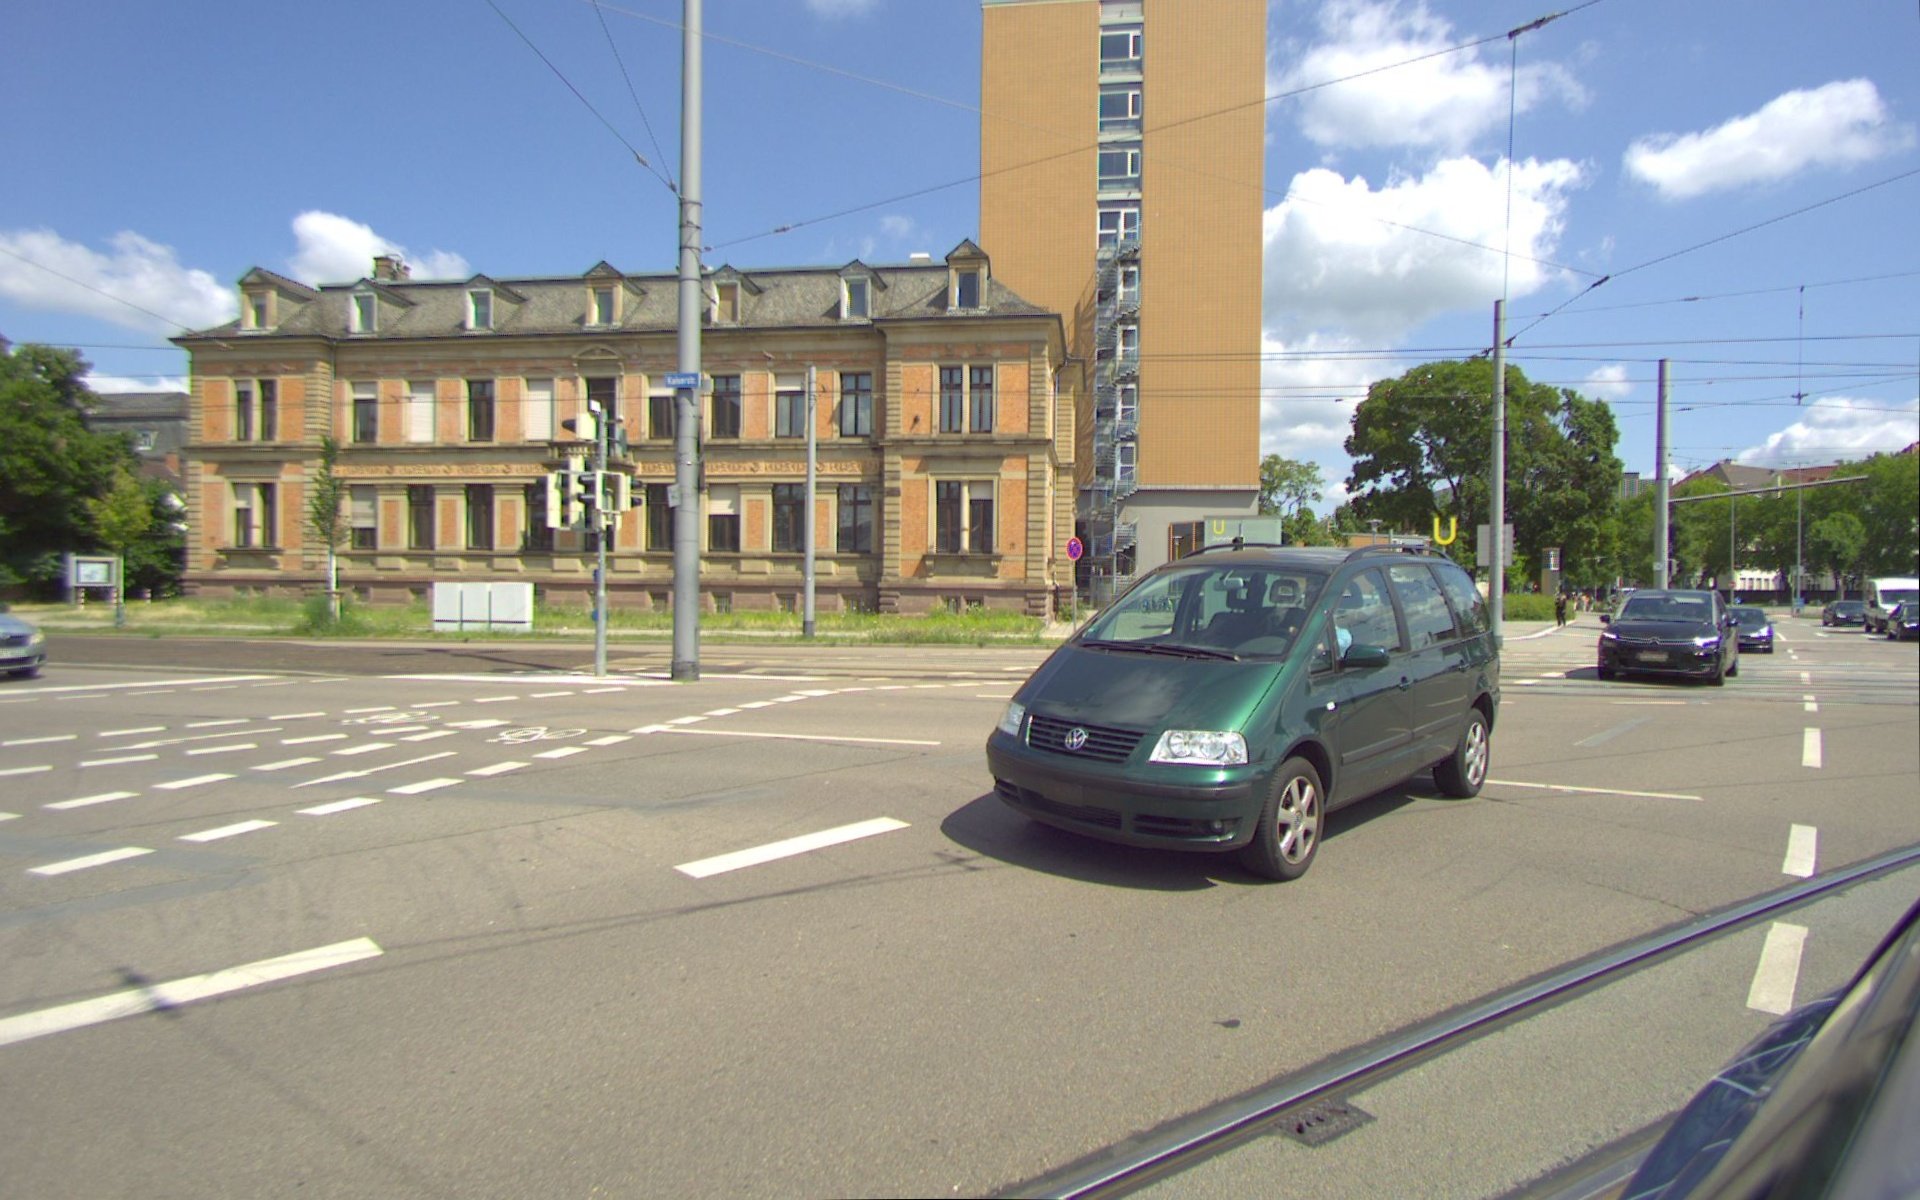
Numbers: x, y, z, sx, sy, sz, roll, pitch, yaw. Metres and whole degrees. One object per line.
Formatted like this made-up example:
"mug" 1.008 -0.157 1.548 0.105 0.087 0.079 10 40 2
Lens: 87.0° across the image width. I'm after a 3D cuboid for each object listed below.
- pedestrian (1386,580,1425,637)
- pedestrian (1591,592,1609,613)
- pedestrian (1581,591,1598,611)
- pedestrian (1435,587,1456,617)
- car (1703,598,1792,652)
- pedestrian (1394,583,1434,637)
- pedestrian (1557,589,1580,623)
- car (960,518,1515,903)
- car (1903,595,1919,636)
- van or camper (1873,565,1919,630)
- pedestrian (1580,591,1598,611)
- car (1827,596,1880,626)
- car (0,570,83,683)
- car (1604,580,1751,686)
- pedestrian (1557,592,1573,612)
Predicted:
"pedestrian" 14.851 0.272 33.750 1.011 1.835 0.726 1 0 12
"pedestrian" 54.400 0.207 86.002 1.142 1.711 1.297 1 0 29
"pedestrian" 55.581 0.121 89.381 1.142 1.711 1.297 1 0 29
"pedestrian" 26.733 0.103 55.749 0.827 1.646 0.756 1 0 41
"car" 25.076 0.739 32.162 1.868 1.504 4.358 1 1 43
"pedestrian" 14.797 0.310 33.003 1.011 1.741 0.726 1 0 12
"pedestrian" 29.032 0.298 48.291 0.827 1.606 0.756 1 0 41
"car" 2.049 0.480 6.660 1.815 1.739 4.020 1 1 44
"car" 37.304 0.584 38.440 1.893 1.482 4.200 1 1 40
"van or camper" 42.997 -0.121 45.787 2.223 2.770 5.442 1 1 40
"pedestrian" 52.806 0.088 84.989 1.142 1.711 1.297 1 0 29
"car" 50.073 0.630 56.788 1.771 1.594 3.911 2 0 35
"car" -15.767 0.334 15.145 4.362 1.607 1.866 1 1 15
"car" 13.102 0.508 18.365 1.865 1.636 4.364 2 2 39
"pedestrian" 54.023 0.186 90.328 1.142 1.711 1.297 1 0 29
